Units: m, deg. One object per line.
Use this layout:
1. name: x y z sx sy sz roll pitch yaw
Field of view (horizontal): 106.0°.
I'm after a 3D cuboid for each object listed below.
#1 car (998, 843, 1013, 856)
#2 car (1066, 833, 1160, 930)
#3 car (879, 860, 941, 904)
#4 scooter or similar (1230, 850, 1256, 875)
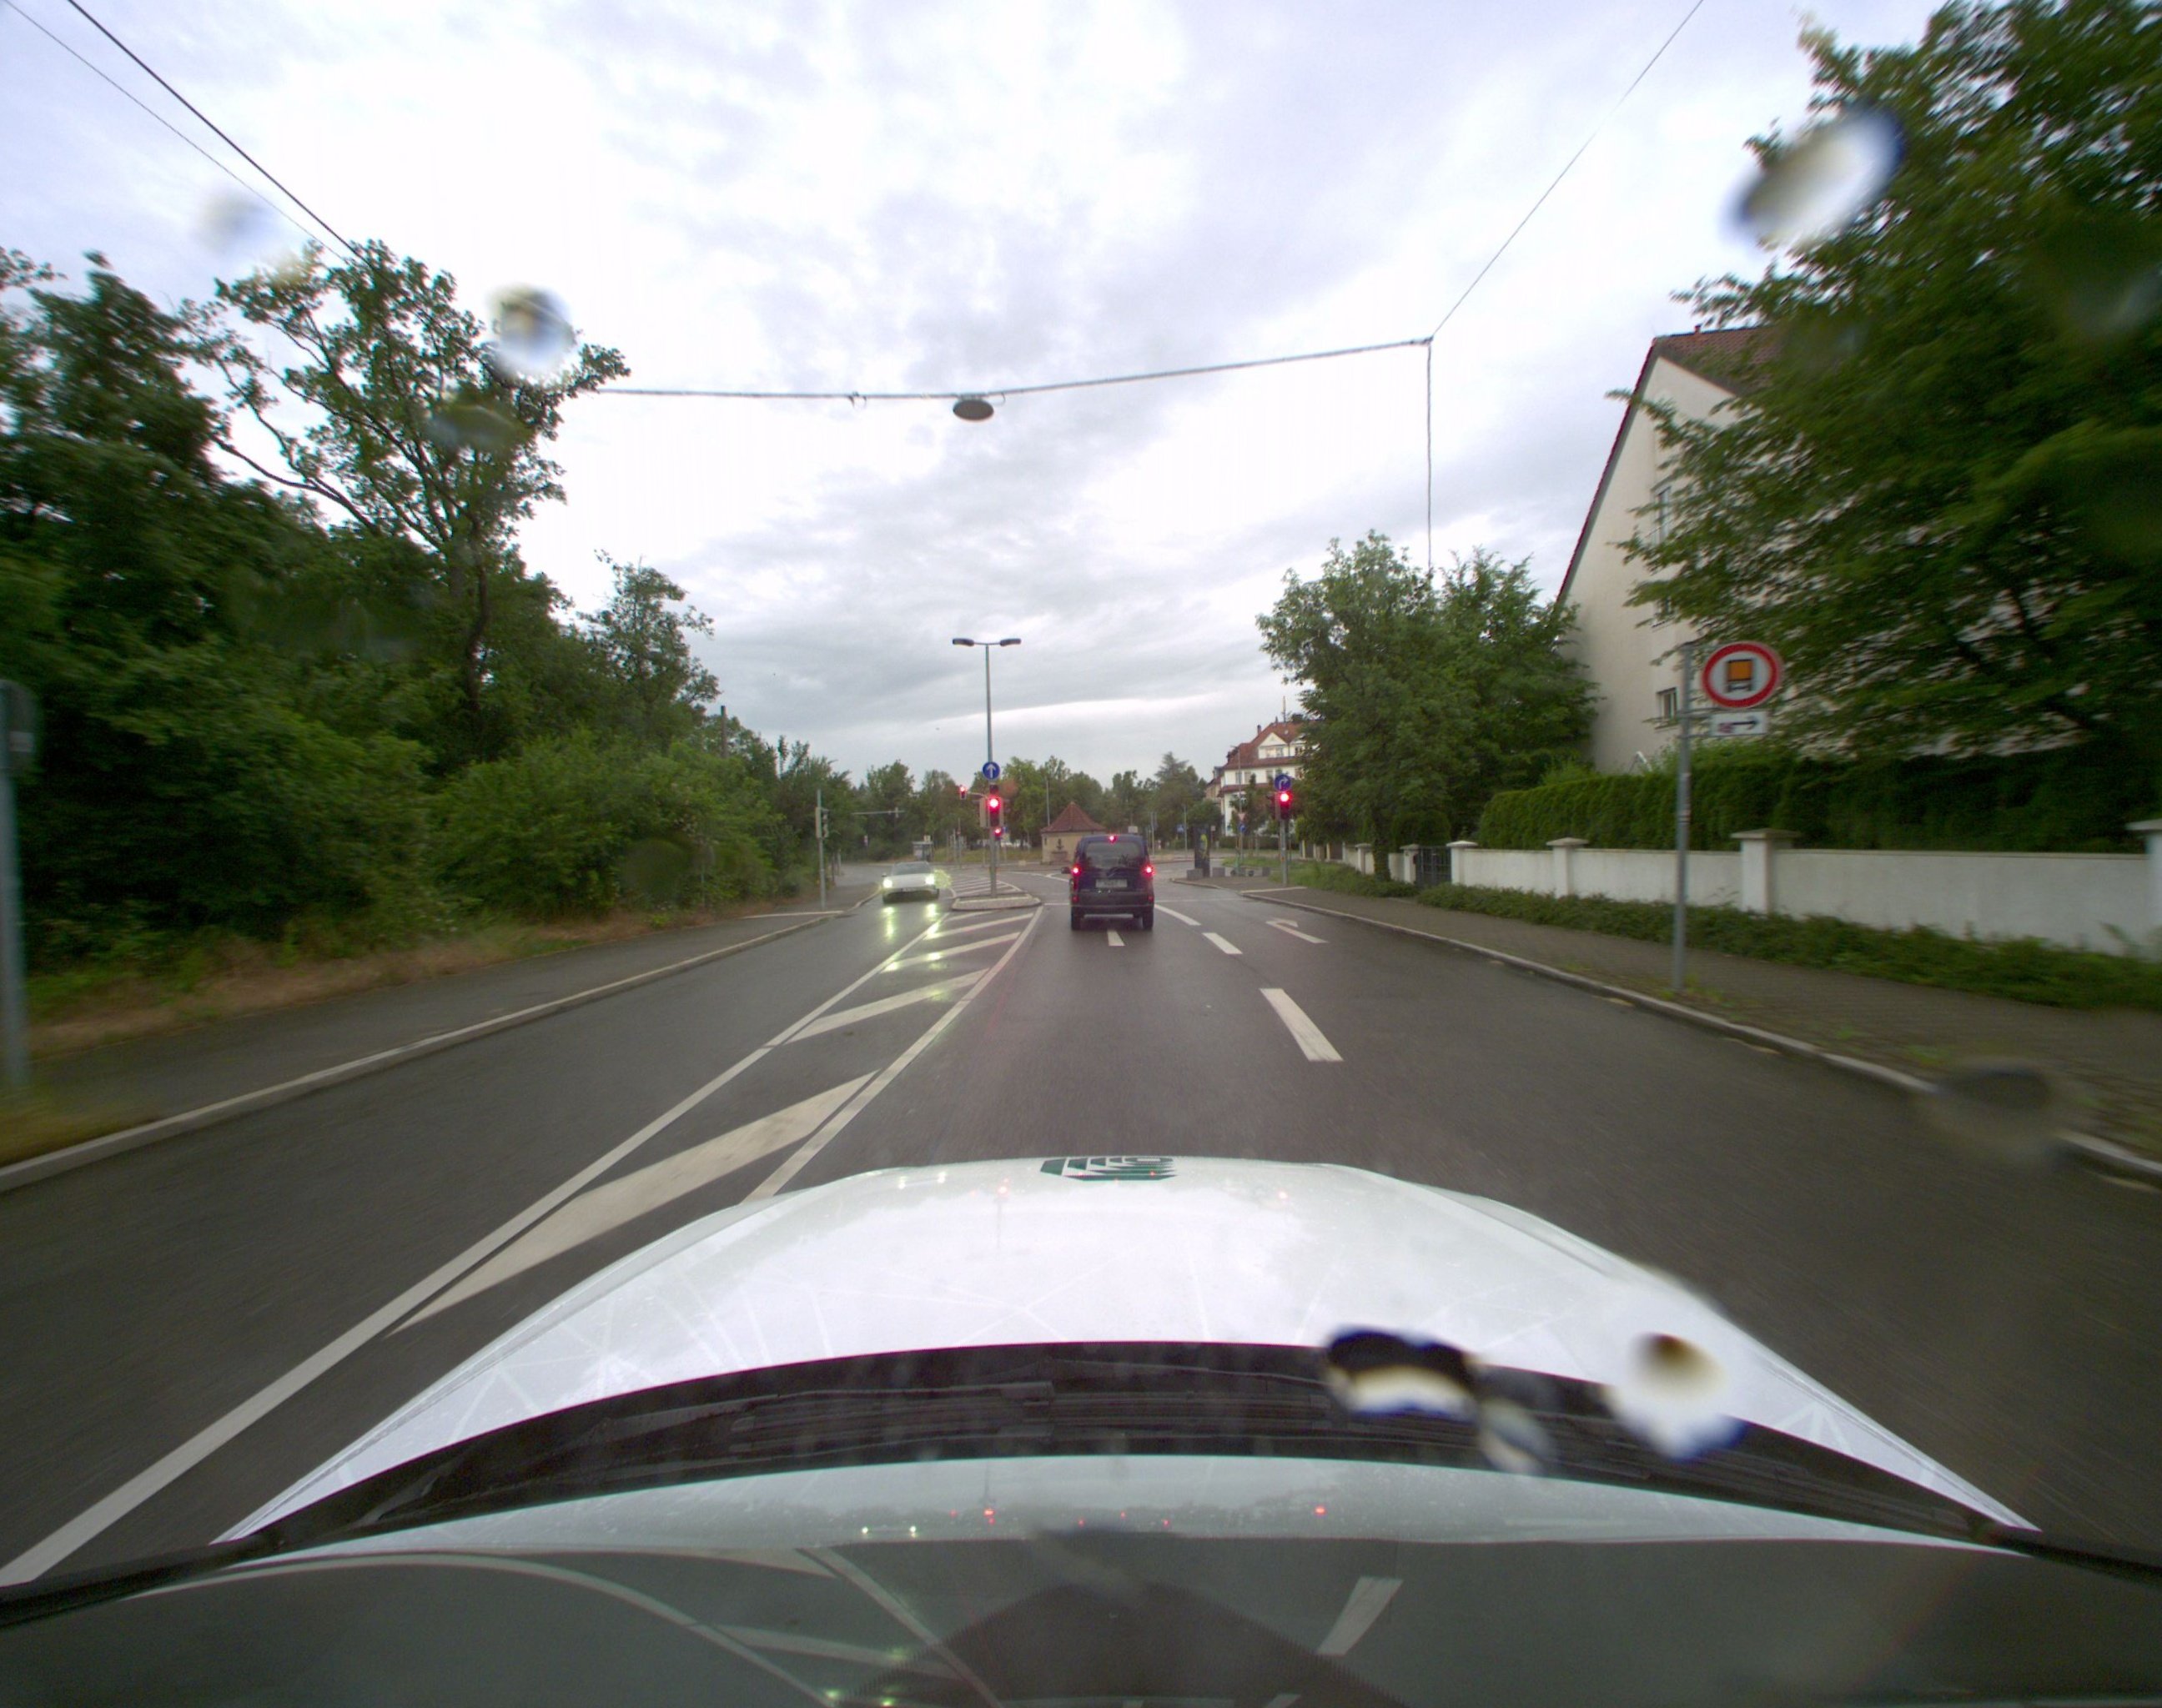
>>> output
1. car: -11.309 -0.684 122.018 1.989 1.812 3.996 -1 -1 -3
2. car: 0.572 0.496 17.165 1.726 1.786 3.998 -1 0 -1
3. car: -6.330 0.986 30.627 1.993 1.311 4.345 -5 1 -9
4. scooter or similar: 7.952 0.424 39.998 1.145 1.219 0.406 -2 -1 0
